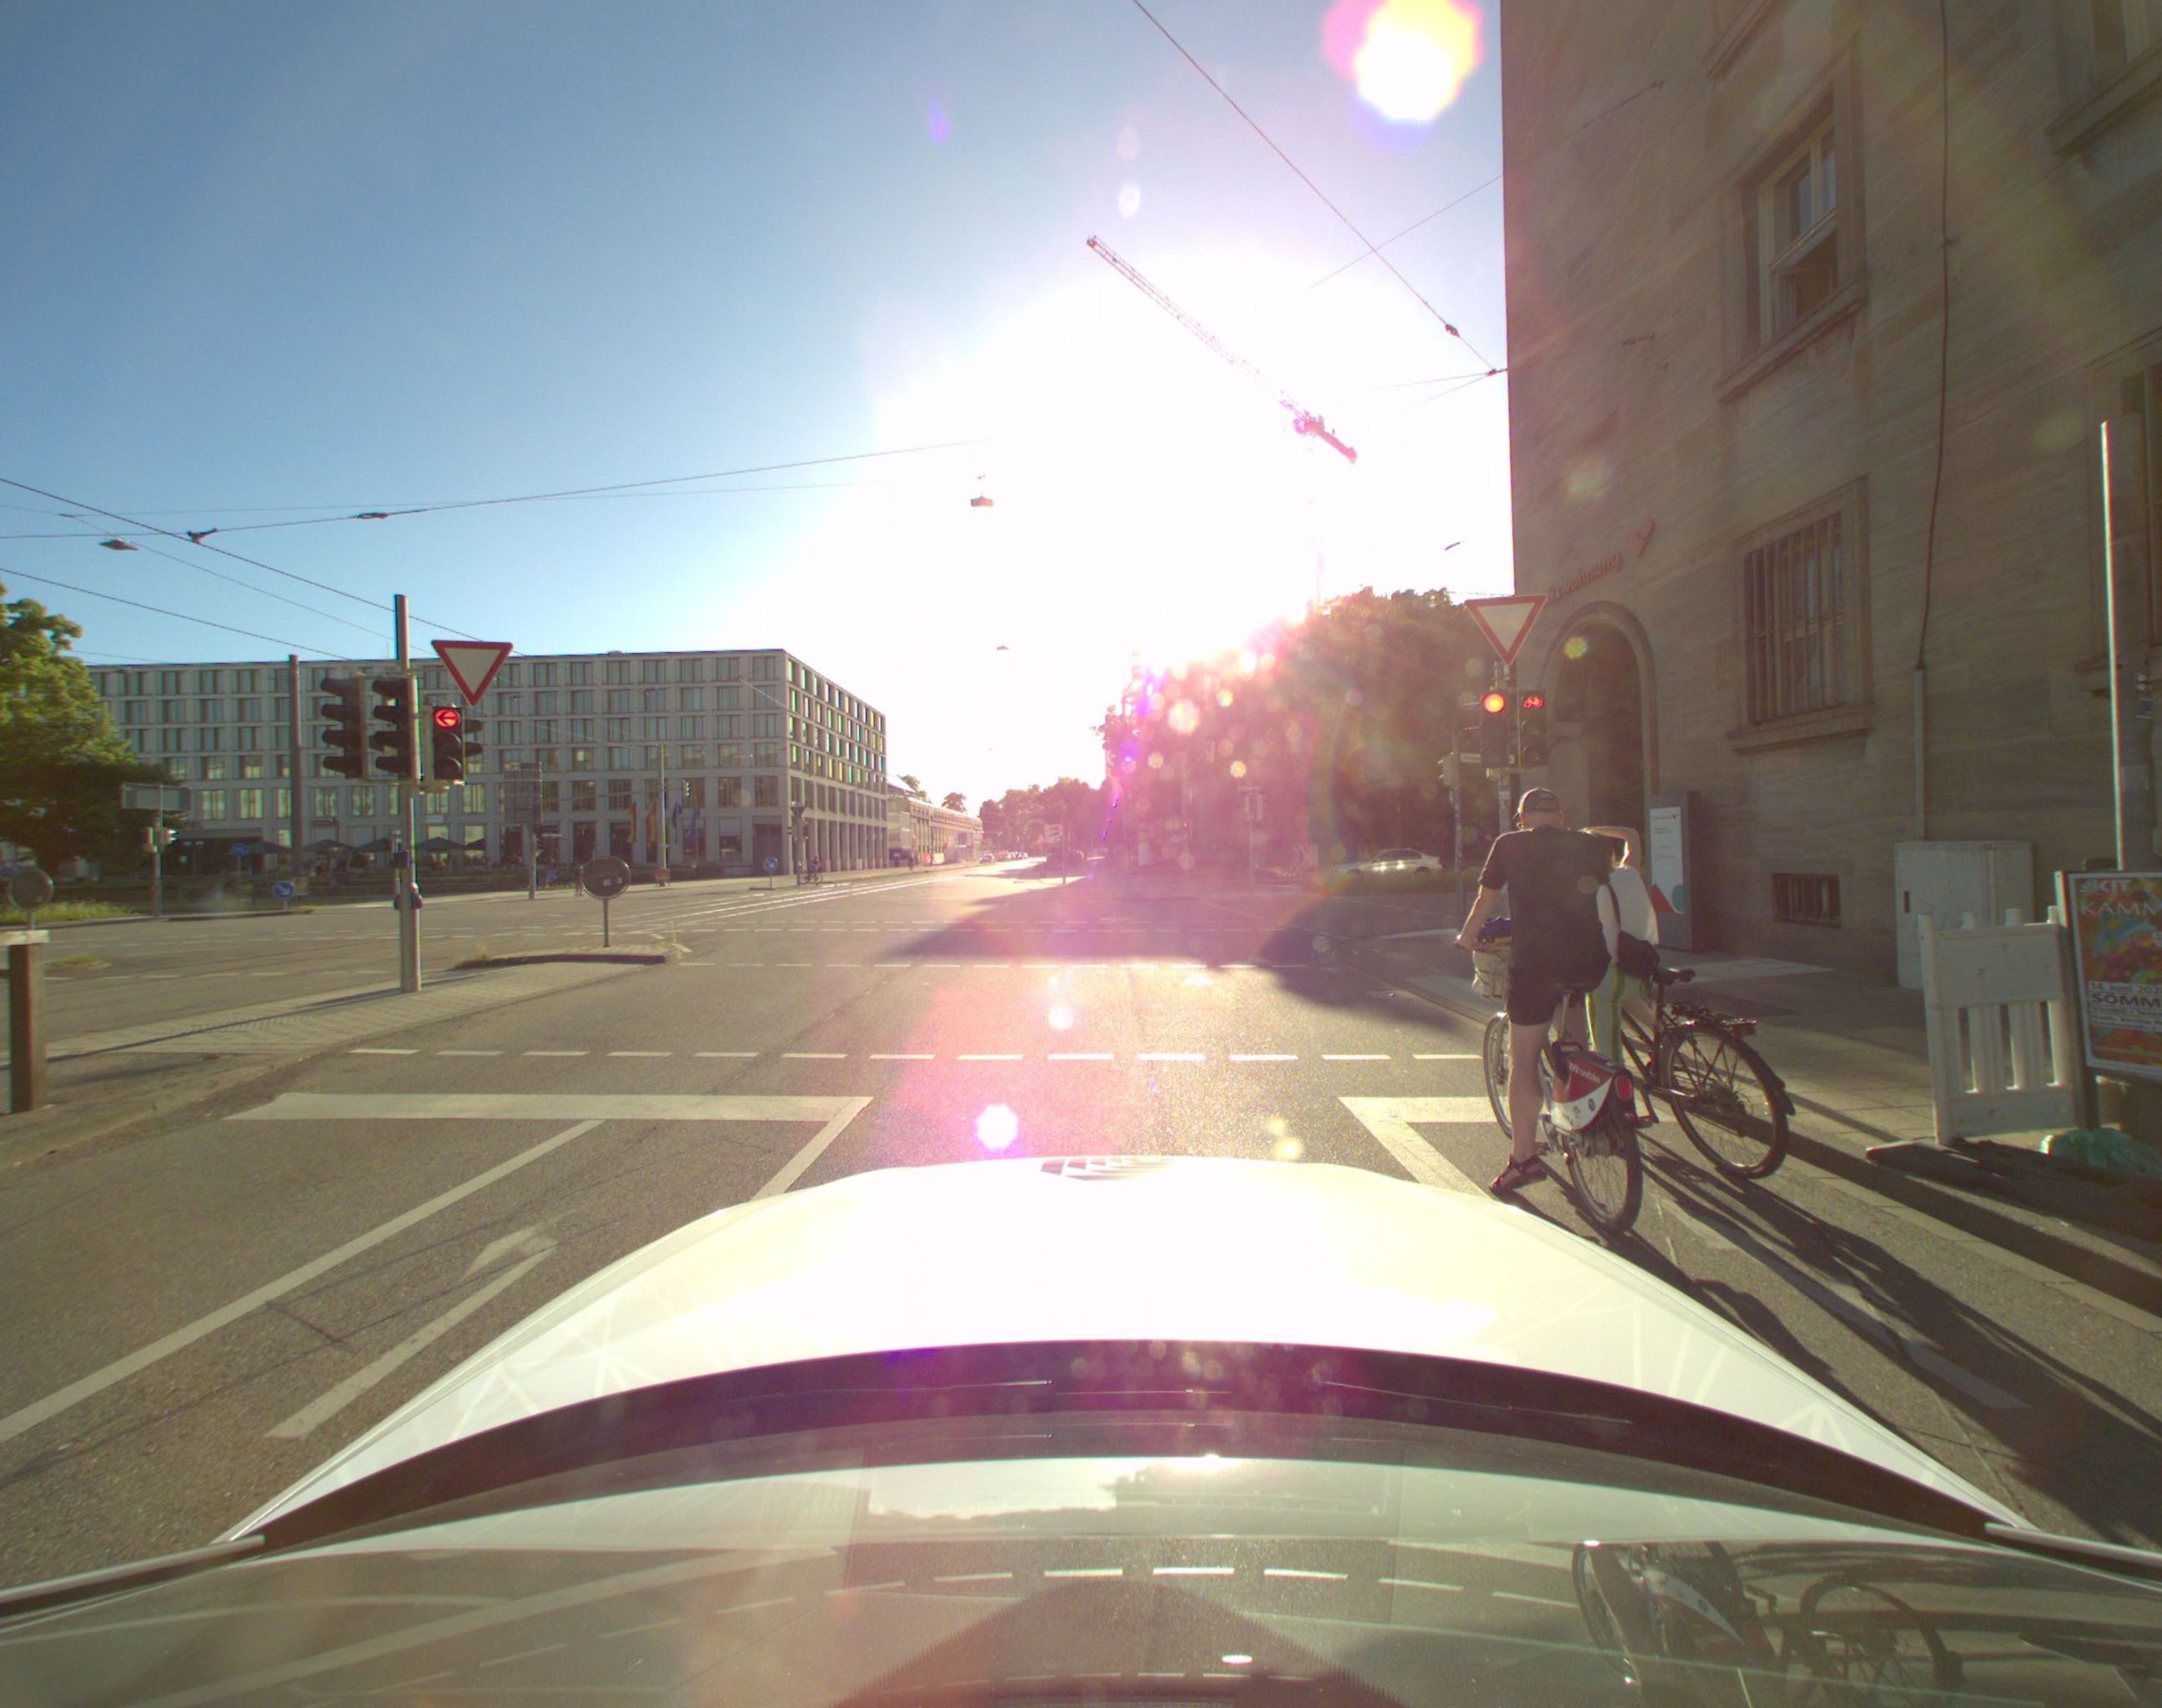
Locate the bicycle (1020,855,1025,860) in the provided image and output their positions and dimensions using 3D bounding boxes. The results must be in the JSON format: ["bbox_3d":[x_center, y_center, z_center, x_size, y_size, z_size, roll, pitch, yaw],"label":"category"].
[{"bbox_3d":[-12.150,0.724,169.420,0.748,1.205,3.108,0,-1,1],"label":"bicycle"}]

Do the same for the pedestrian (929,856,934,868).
[{"bbox_3d":[-23.277,1.284,127.100,0.582,1.889,0.481,-1,-1,44],"label":"pedestrian"}]

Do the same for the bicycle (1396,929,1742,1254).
[{"bbox_3d":[2.179,0.977,3.945,0.621,1.044,1.747,-2,0,1],"label":"bicycle"}]

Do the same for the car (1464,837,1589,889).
[{"bbox_3d":[17.880,0.356,32.843,3.970,2.014,2.002,0,-1,3],"label":"car"}]

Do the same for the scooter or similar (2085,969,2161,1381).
[{"bbox_3d":[3.382,0.915,1.853,0.571,1.150,1.270,-1,-1,-3],"label":"scooter or similar"}]

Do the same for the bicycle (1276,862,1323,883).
[{"bbox_3d":[9.710,0.834,36.271,1.932,0.889,0.719,-1,-1,8],"label":"bicycle"}]

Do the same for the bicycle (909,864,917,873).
[{"bbox_3d":[-18.074,1.565,87.762,0.492,0.839,1.158,-2,0,4],"label":"bicycle"}]

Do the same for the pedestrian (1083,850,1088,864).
[{"bbox_3d":[0.545,0.331,97.746,0.576,1.689,0.584,-2,0,-6],"label":"pedestrian"}]

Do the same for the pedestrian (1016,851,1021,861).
[{"bbox_3d":[-12.611,0.345,164.066,0.746,2.063,1.052,0,-1,7],"label":"pedestrian"}]

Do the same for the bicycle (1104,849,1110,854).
[{"bbox_3d":[6.449,-0.625,200.610,0.890,1.219,2.784,0,-1,-9],"label":"bicycle"}]

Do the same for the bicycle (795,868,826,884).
[{"bbox_3d":[-14.685,1.186,44.242,1.696,0.823,0.577,-2,0,29],"label":"bicycle"}]

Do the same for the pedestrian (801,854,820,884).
[{"bbox_3d":[-14.684,0.796,44.234,0.735,1.595,0.577,-2,0,29],"label":"pedestrian"}]

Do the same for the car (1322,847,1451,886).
[{"bbox_3d":[12.433,0.509,33.402,4.559,1.516,2.001,0,-1,1],"label":"car"}]

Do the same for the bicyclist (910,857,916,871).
[{"bbox_3d":[-18.090,1.113,87.734,0.492,1.498,0.667,-2,0,4],"label":"bicyclist"}]

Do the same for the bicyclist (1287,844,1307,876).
[{"bbox_3d":[9.617,0.271,36.284,0.742,1.406,0.704,0,-1,8],"label":"bicyclist"}]

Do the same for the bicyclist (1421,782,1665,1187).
[{"bbox_3d":[2.173,0.557,3.949,0.621,1.715,0.913,-2,0,0],"label":"bicyclist"}]

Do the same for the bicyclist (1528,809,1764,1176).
[{"bbox_3d":[2.951,0.661,4.357,0.581,1.738,0.951,-2,0,2],"label":"bicyclist"}]

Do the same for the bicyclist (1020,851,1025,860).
[{"bbox_3d":[-12.156,0.349,169.304,0.748,1.920,1.214,0,-1,1],"label":"bicyclist"}]

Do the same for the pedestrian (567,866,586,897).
[{"bbox_3d":[-28.226,1.538,45.550,0.600,1.681,0.608,-2,0,9],"label":"pedestrian"}]

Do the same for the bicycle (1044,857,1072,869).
[{"bbox_3d":[-1.926,0.730,67.427,2.240,0.940,0.653,-2,0,-4],"label":"bicycle"}]

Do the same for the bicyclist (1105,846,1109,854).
[{"bbox_3d":[6.430,-1.021,200.708,0.891,2.014,0.746,0,-1,-10],"label":"bicyclist"}]

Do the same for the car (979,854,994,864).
[{"bbox_3d":[-15.808,0.808,136.350,1.988,1.599,3.999,-2,0,-1],"label":"car"}]

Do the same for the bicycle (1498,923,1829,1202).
[{"bbox_3d":[2.961,0.976,4.391,0.579,1.044,1.748,-2,0,3],"label":"bicycle"}]

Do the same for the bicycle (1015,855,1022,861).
[{"bbox_3d":[-12.620,0.768,163.996,0.746,1.205,3.114,0,-1,7],"label":"bicycle"}]

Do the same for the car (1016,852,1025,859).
[{"bbox_3d":[-14.440,0.333,195.314,1.988,1.644,3.998,-2,0,-1],"label":"car"}]
